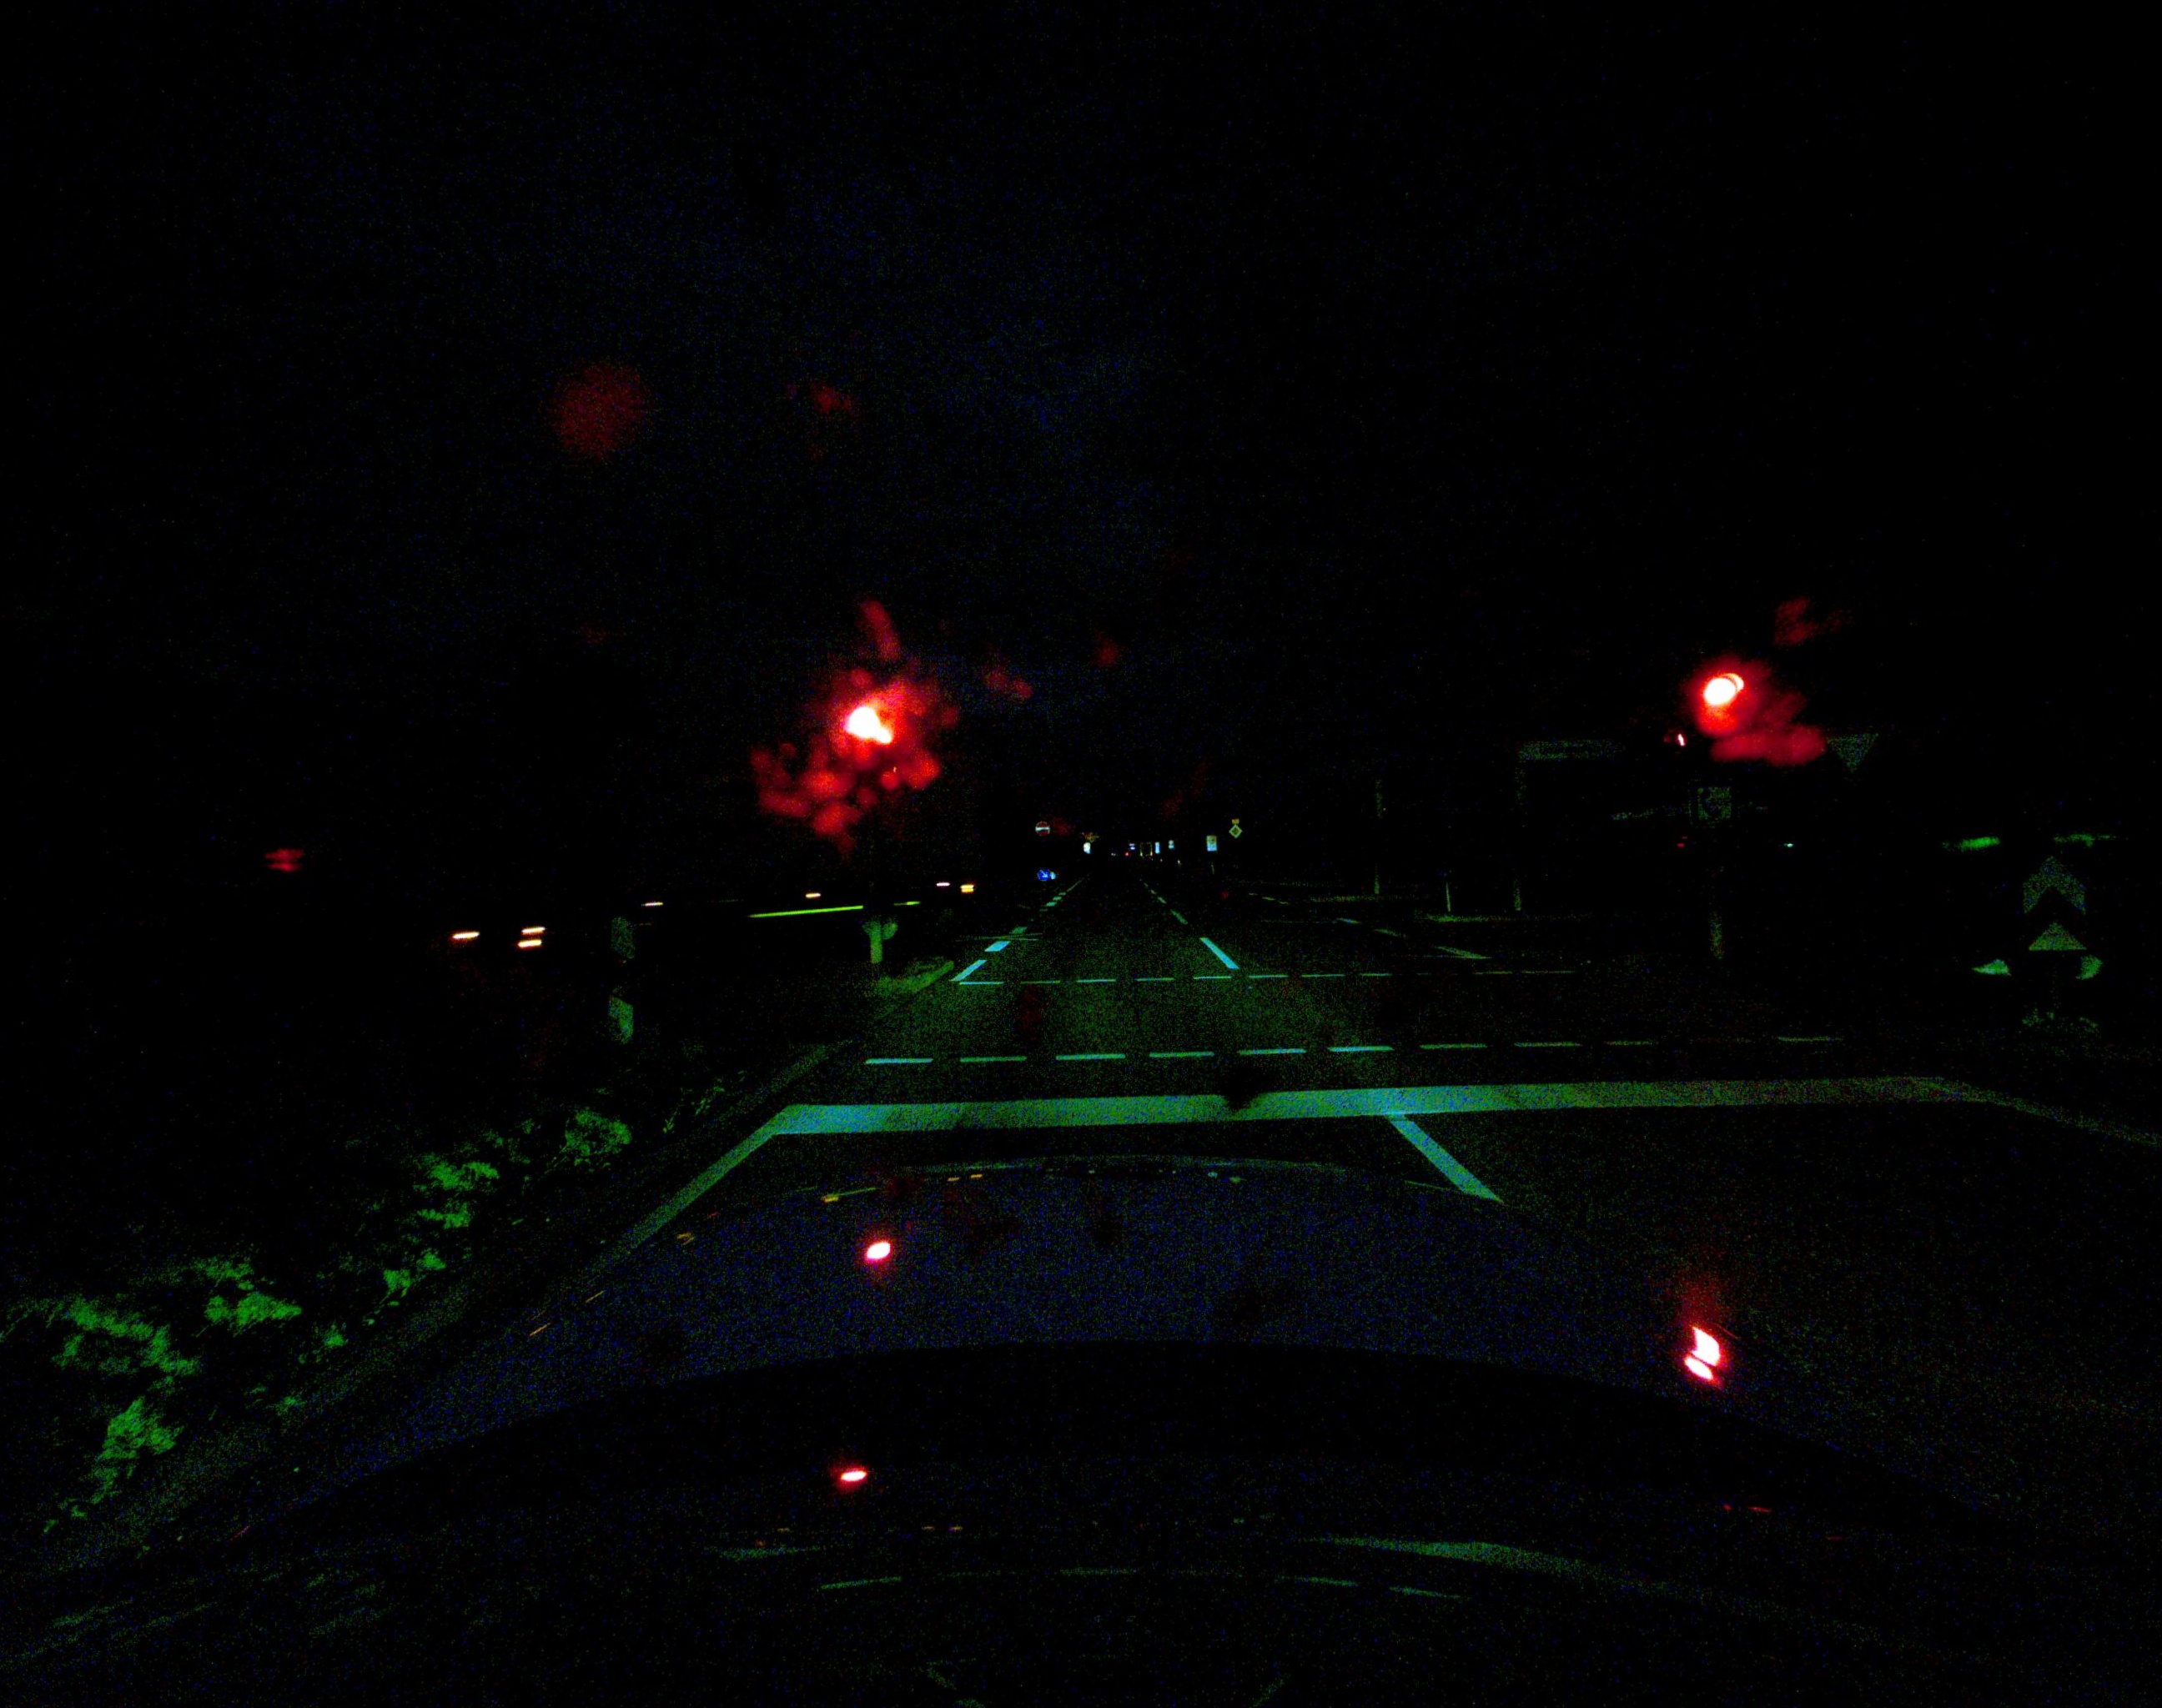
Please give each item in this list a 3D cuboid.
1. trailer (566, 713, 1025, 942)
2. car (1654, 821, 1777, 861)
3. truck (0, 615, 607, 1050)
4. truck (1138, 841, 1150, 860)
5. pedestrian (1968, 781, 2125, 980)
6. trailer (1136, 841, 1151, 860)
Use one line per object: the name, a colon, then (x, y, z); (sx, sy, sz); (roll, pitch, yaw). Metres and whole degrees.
trailer: (-5.724, -0.604, 17.665); (8.918, 3.943, 2.556); (-3, 0, -37)
car: (30.025, -0.594, 38.670); (4.419, 1.664, 2.013); (-3, 0, 38)
truck: (-11.083, -0.176, 9.311); (2.703, 4.117, 10.397); (-2, -1, 20)
truck: (13.518, -0.721, 174.899); (2.569, 4.071, 6.135); (-1, 0, 3)
pedestrian: (10.195, 0.271, 8.628); (0.775, 2.014, 0.714); (0, -1, 3)
trailer: (13.871, -0.751, 181.976); (2.612, 4.104, 12.944); (-2, 0, 2)
